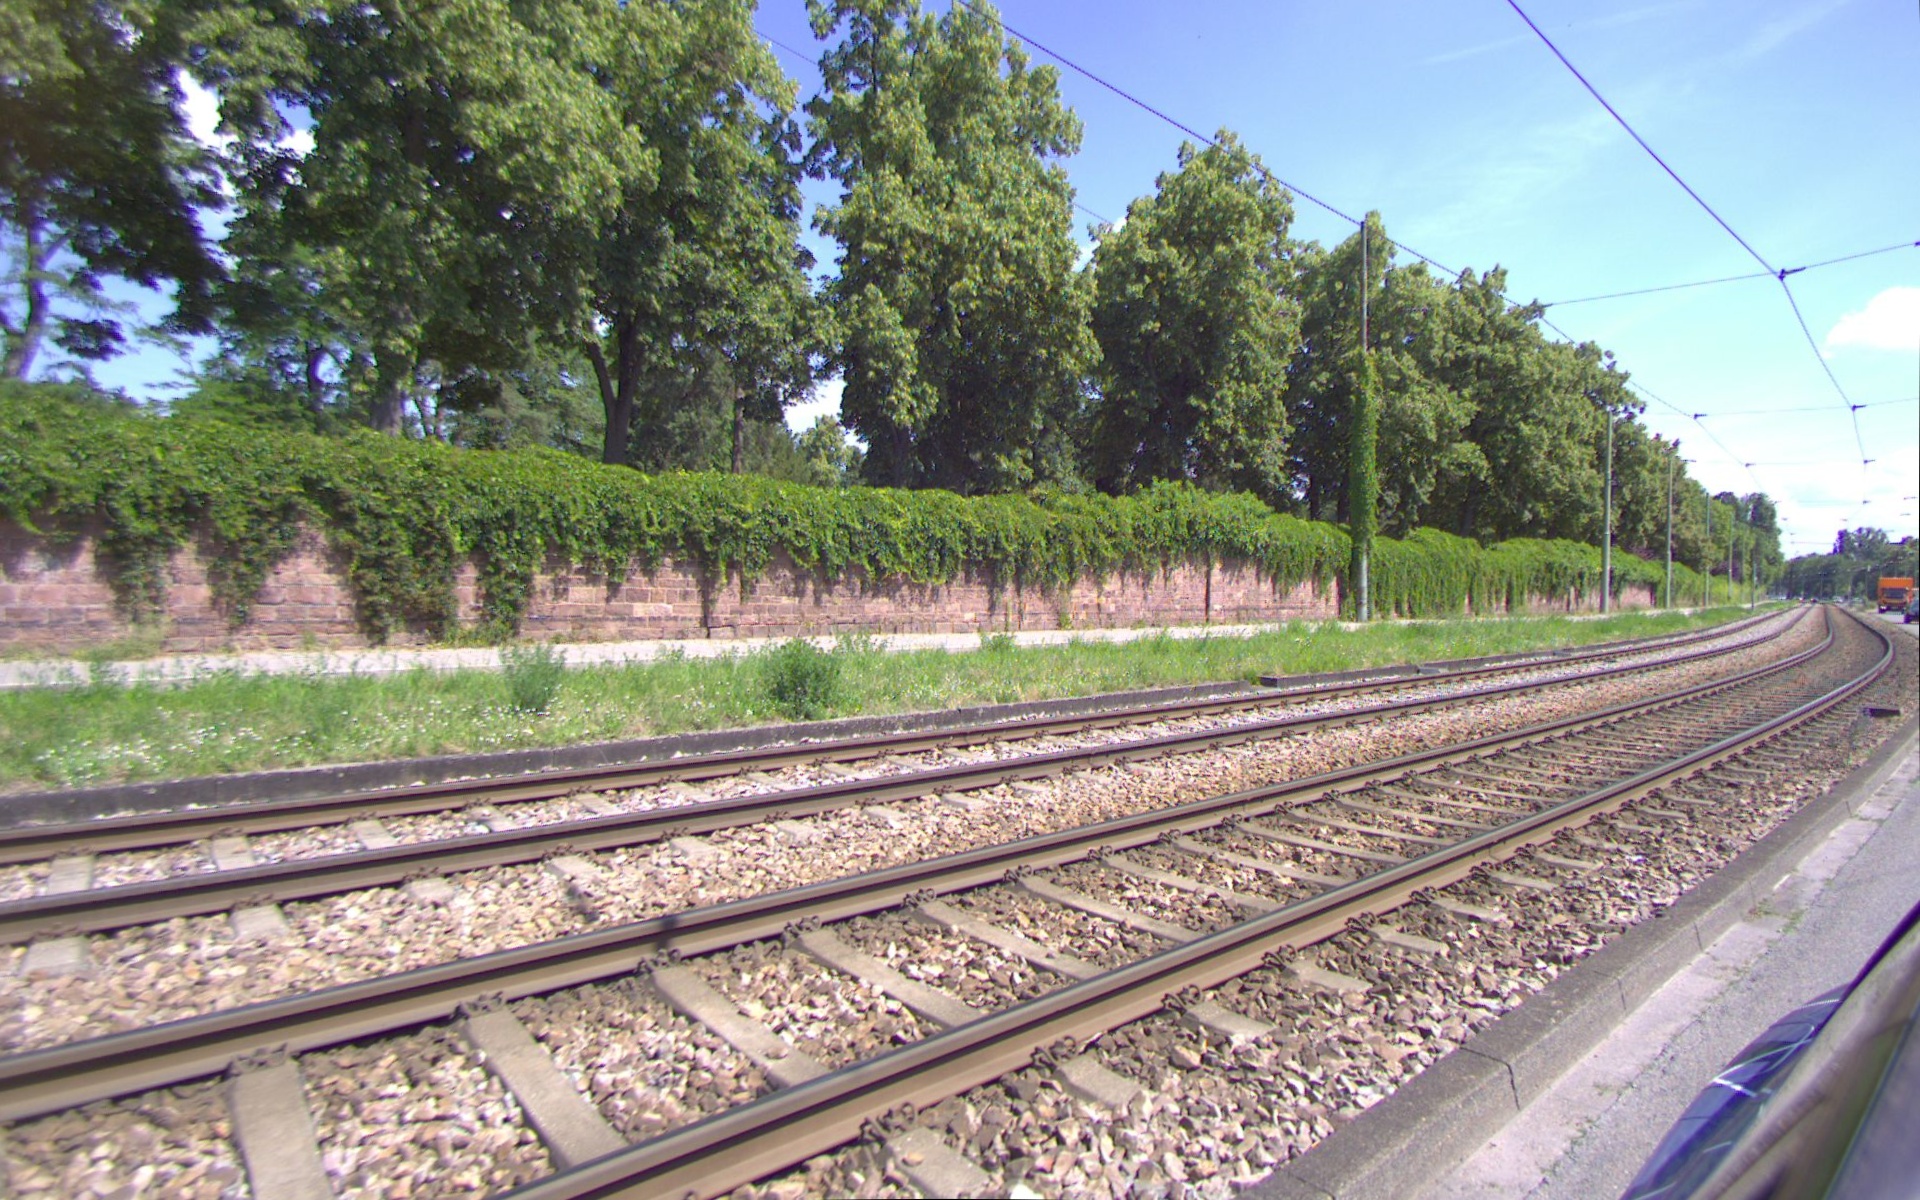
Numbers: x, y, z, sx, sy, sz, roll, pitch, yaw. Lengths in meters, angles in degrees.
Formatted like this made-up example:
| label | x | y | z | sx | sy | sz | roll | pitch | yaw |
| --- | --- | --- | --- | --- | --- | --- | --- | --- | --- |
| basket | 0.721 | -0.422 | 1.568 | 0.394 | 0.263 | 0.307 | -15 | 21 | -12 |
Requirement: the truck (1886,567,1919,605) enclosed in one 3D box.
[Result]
| label | x | y | z | sx | sy | sz | roll | pitch | yaw |
| --- | --- | --- | --- | --- | --- | --- | --- | --- | --- |
| truck | 94.010 | -1.453 | 100.630 | 2.838 | 3.640 | 8.572 | 1 | 2 | 43 |

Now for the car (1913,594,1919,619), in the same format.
| label | x | y | z | sx | sy | sz | roll | pitch | yaw |
| --- | --- | --- | --- | --- | --- | --- | --- | --- | --- |
| car | 57.324 | 0.418 | 59.364 | 1.995 | 1.370 | 3.937 | 6 | 5 | 43 |
